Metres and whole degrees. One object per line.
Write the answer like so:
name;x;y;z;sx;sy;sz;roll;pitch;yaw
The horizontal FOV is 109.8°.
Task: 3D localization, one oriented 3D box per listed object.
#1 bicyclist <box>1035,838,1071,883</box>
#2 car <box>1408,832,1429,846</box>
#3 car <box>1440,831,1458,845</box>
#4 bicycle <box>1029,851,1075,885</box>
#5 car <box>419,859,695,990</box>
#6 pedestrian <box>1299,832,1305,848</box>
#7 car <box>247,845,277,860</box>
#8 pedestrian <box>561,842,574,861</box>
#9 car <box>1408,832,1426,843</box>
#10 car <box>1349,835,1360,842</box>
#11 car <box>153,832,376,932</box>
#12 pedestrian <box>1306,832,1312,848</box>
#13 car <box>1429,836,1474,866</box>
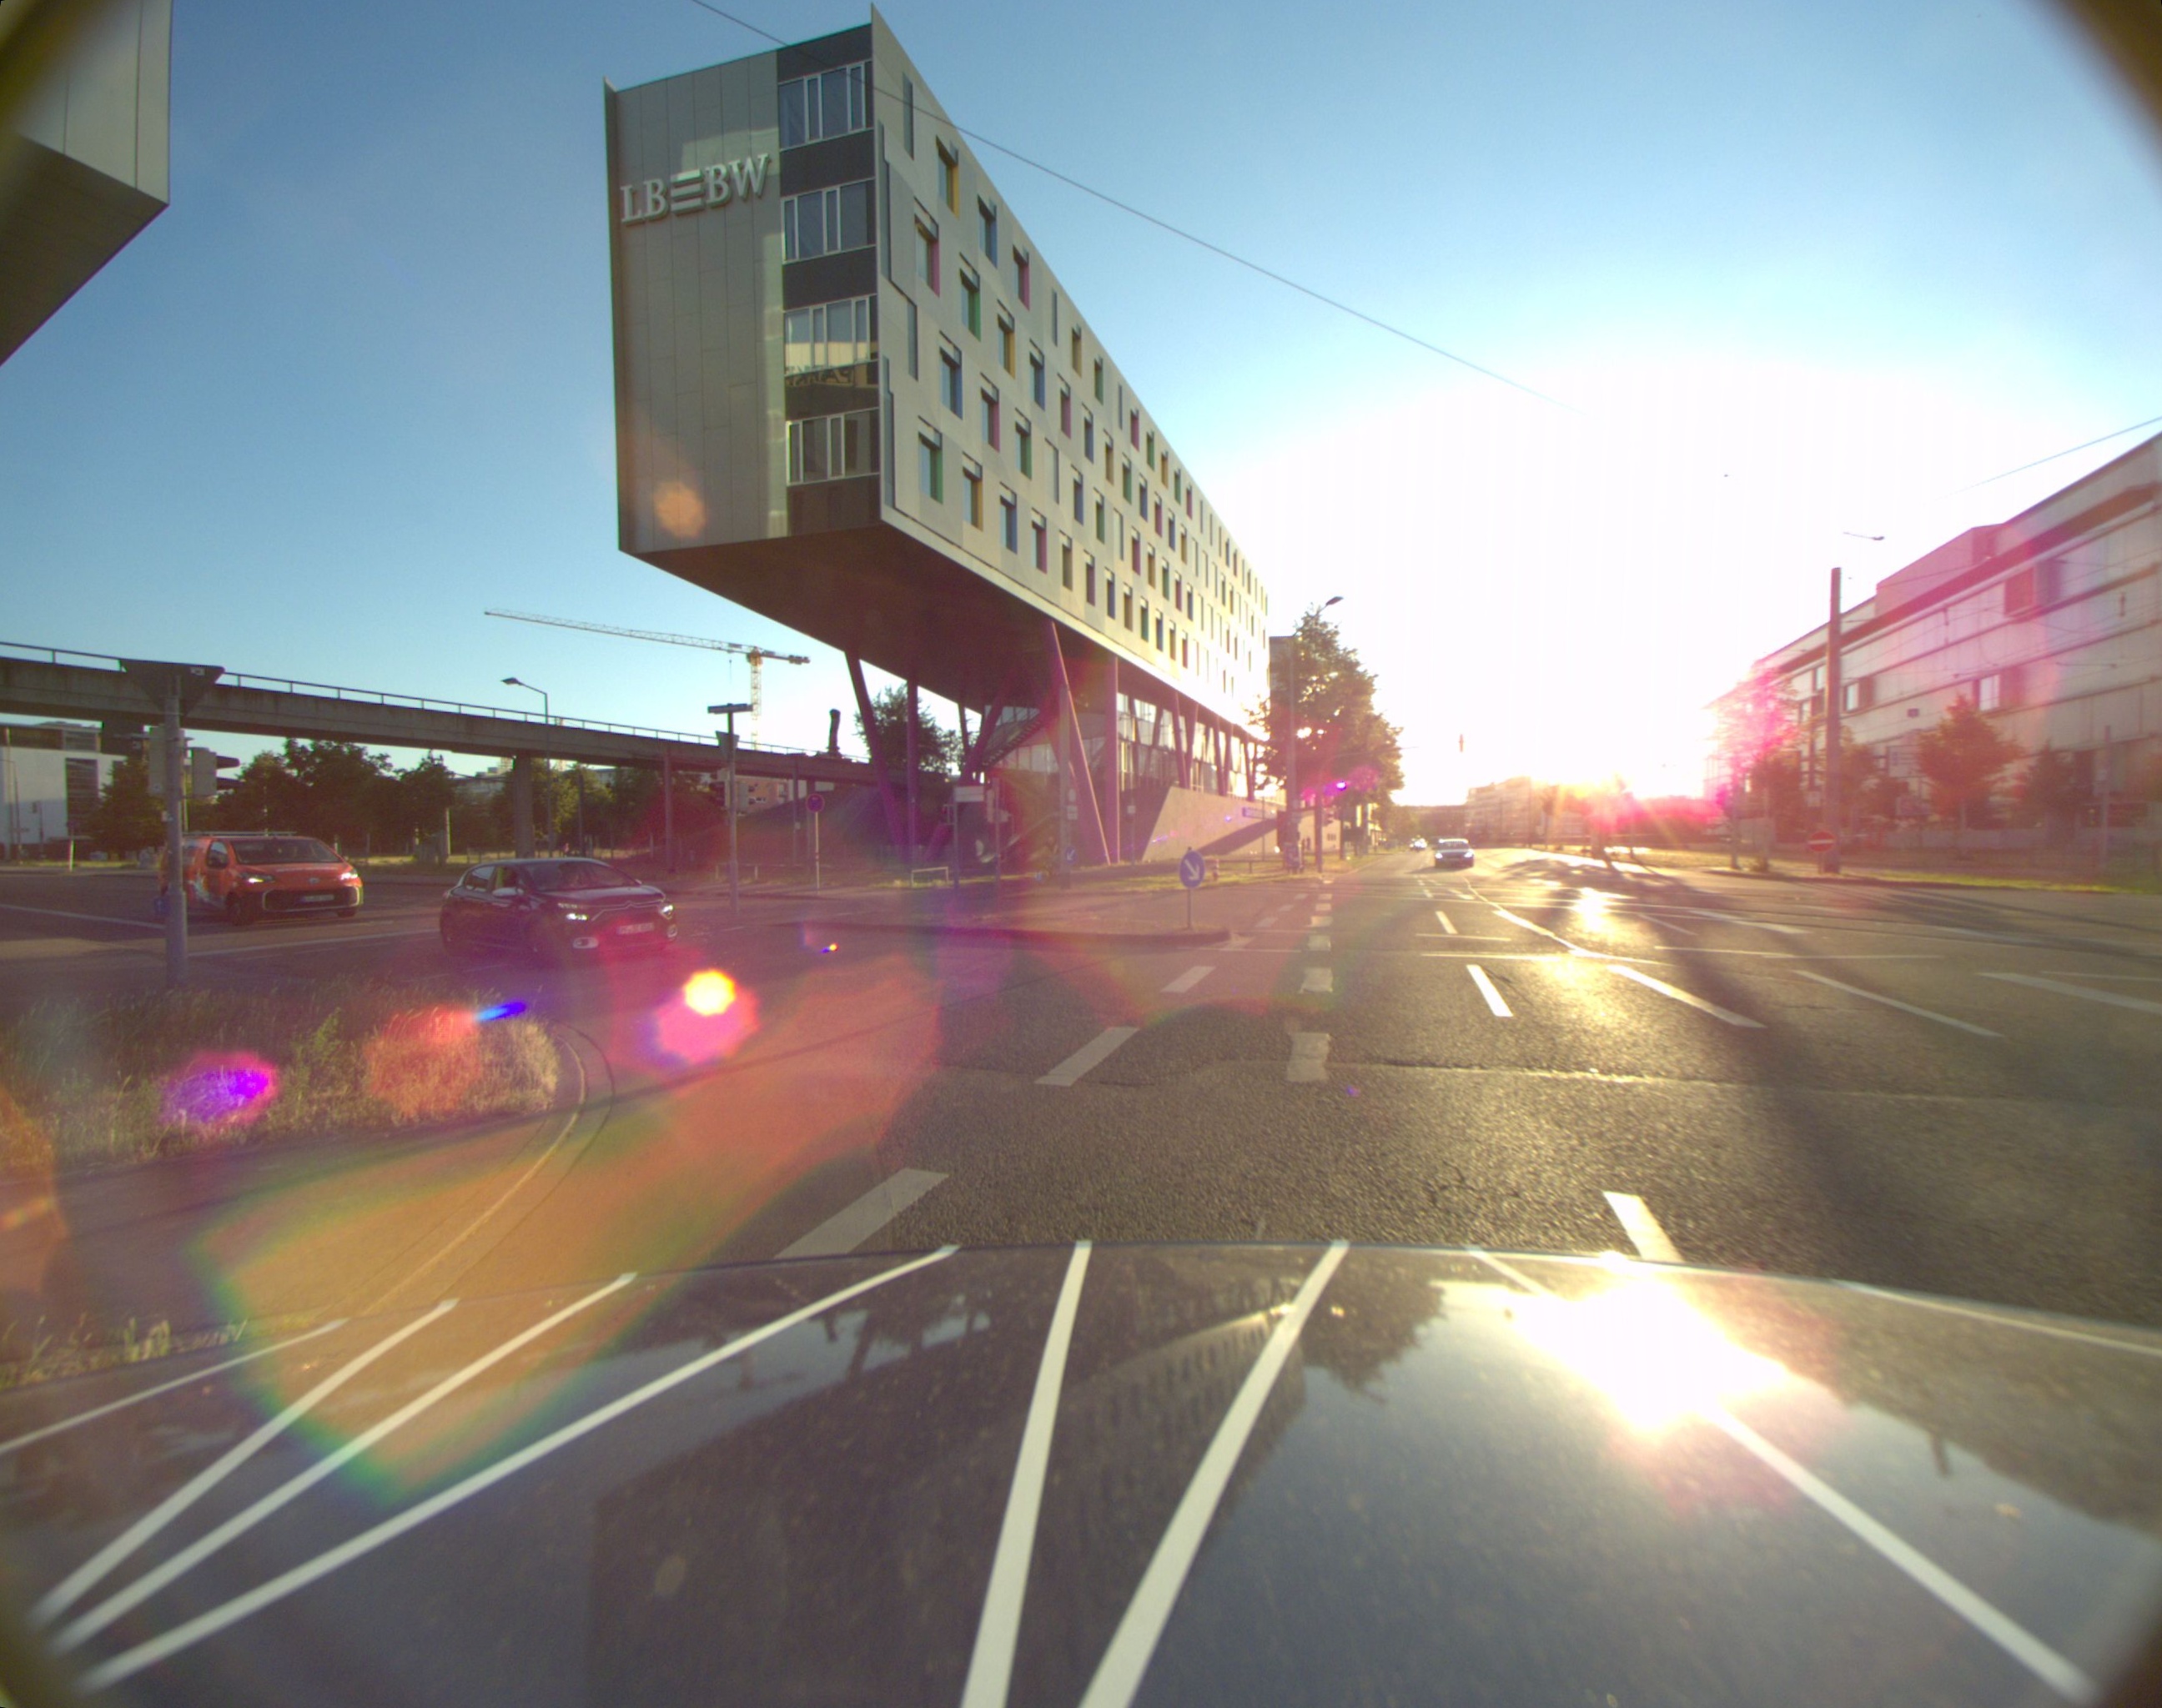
bicyclist;-1.035;0.217;28.363;0.805;1.624;1.290;0;2;27
car;36.403;-1.617;81.943;1.995;1.412;4.006;0;2;23
car;46.792;-2.096;96.664;1.995;1.697;4.006;0;2;23
bicycle;-1.058;0.502;28.325;0.741;1.200;2.114;0;2;28
car;-7.782;0.889;11.216;4.060;1.543;1.764;0;2;31
pedestrian;27.801;-1.761;95.482;0.617;2.002;0.813;1;3;25
car;-96.620;-0.244;89.608;3.833;1.711;1.876;0;2;35
pedestrian;-44.709;-0.228;66.192;0.415;1.602;0.781;1;2;38
car;42.314;-2.074;95.765;1.995;1.412;4.006;0;2;23
car;55.504;-3.178;154.311;1.715;1.490;4.006;0;2;25
car;-18.292;0.531;17.005;4.809;1.980;1.935;0;3;25
pedestrian;28.592;-1.753;95.228;0.617;2.002;0.813;1;3;25
car;19.070;-0.200;39.067;1.995;1.412;4.006;0;2;26
